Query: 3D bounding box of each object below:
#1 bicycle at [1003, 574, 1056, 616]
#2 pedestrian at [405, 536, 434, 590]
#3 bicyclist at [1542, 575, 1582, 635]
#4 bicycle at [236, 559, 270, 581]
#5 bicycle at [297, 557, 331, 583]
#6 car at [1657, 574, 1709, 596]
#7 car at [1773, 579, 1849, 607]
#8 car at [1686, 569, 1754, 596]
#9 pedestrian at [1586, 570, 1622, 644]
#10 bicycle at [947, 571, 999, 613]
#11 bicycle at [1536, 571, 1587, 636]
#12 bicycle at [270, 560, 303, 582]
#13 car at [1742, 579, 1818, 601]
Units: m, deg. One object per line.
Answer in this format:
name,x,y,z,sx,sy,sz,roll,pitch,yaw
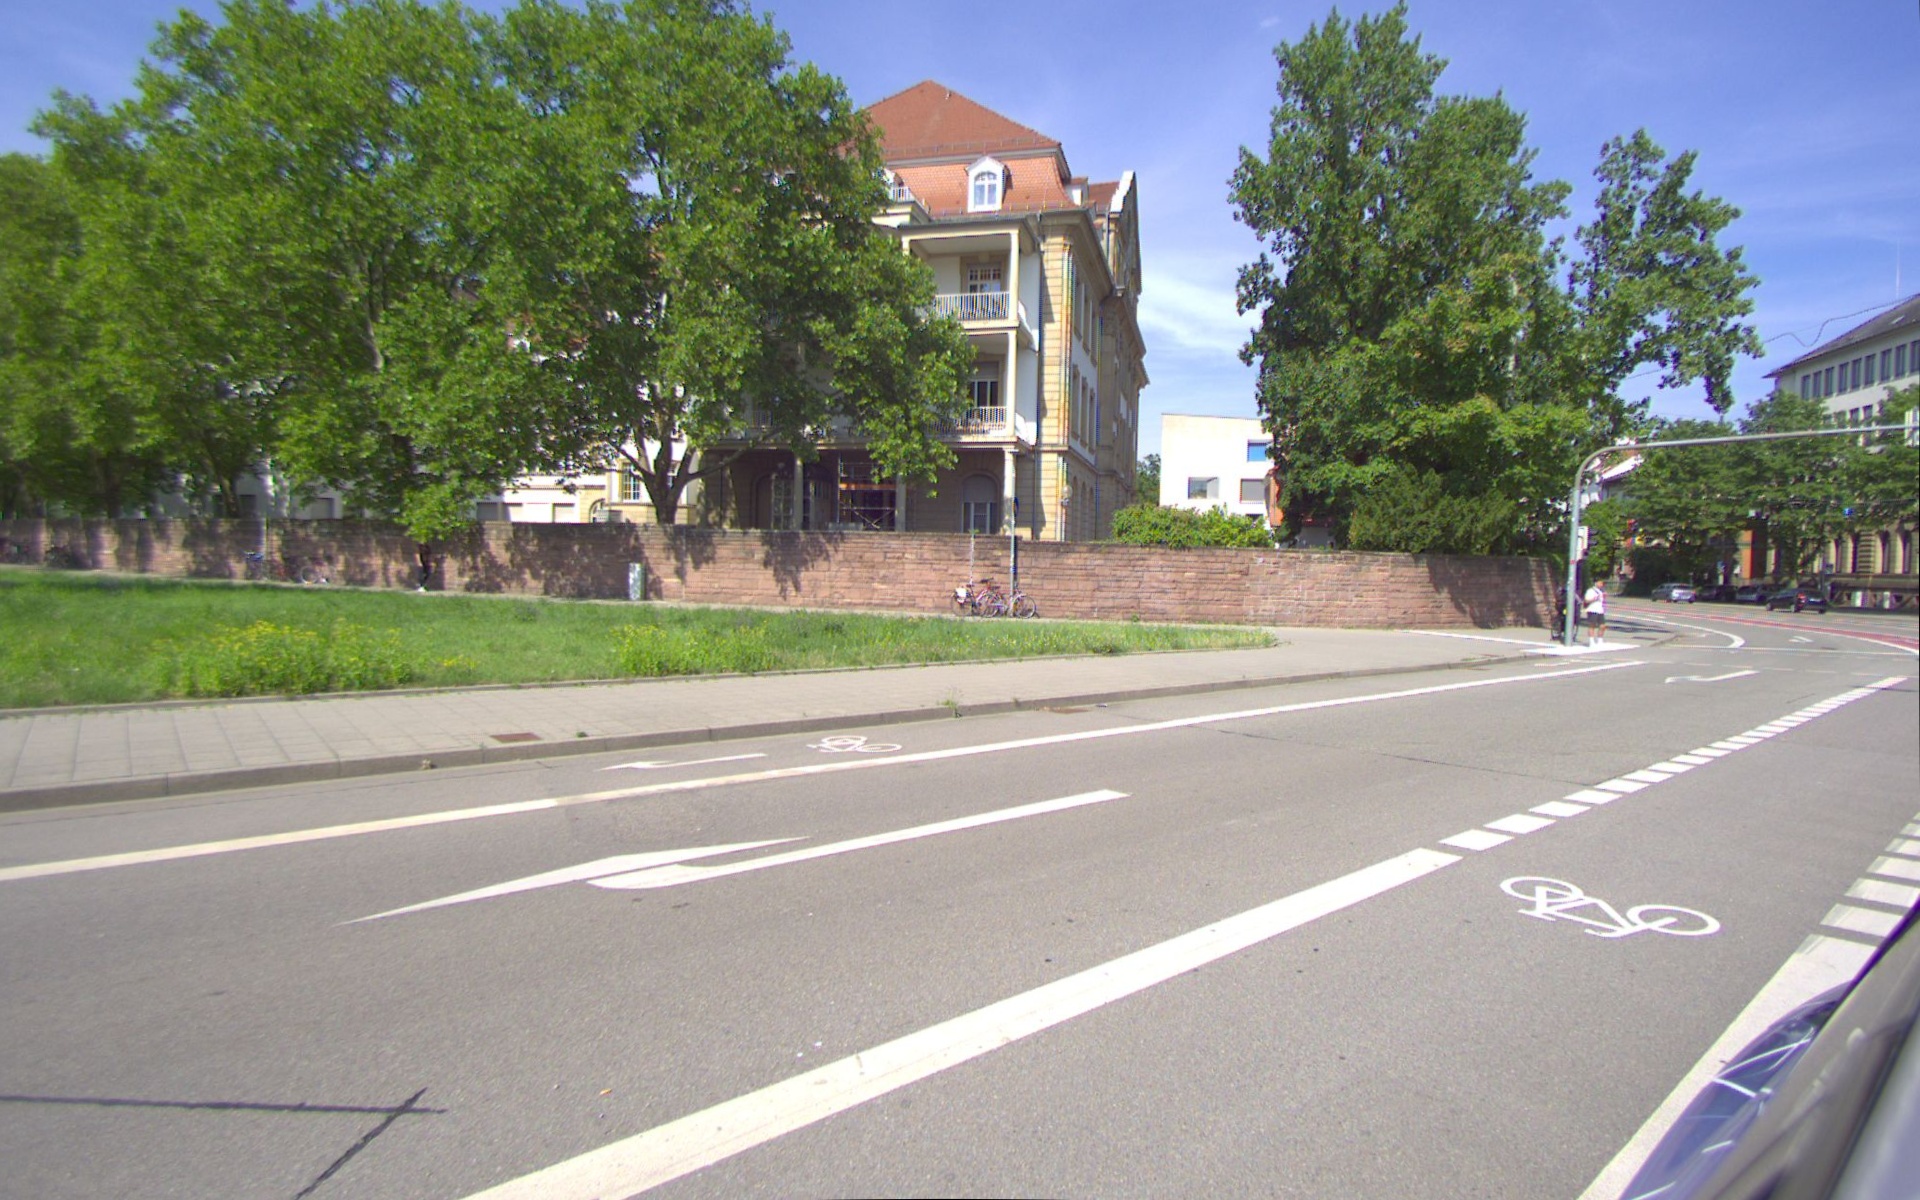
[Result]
bicycle,1.934,-0.151,28.378,1.406,1.136,0.350,1,2,-6
pedestrian,-17.951,-1.243,33.613,0.592,1.761,0.616,2,2,20
bicyclist,17.319,0.140,29.110,0.903,1.675,0.679,0,2,-41
bicycle,-25.997,-1.110,37.209,1.350,0.737,0.338,3,2,23
bicycle,-23.118,-1.079,36.215,1.294,0.866,0.369,3,2,25
car,54.785,-1.173,76.741,1.774,1.429,3.984,3,3,14
car,50.418,-0.440,60.056,1.644,1.468,3.809,3,3,9
car,62.759,-1.475,83.613,3.941,2.038,1.992,2,2,14
pedestrian,16.944,0.168,26.632,0.649,1.897,0.788,4,3,31
bicycle,0.364,-0.222,28.282,1.406,1.136,0.350,1,2,-27
bicycle,17.305,0.080,29.100,1.779,1.787,0.679,0,3,-41
bicycle,-24.435,-1.064,36.716,1.350,0.737,0.338,3,2,23
car,62.991,-0.790,77.821,3.941,1.482,1.992,2,2,14
